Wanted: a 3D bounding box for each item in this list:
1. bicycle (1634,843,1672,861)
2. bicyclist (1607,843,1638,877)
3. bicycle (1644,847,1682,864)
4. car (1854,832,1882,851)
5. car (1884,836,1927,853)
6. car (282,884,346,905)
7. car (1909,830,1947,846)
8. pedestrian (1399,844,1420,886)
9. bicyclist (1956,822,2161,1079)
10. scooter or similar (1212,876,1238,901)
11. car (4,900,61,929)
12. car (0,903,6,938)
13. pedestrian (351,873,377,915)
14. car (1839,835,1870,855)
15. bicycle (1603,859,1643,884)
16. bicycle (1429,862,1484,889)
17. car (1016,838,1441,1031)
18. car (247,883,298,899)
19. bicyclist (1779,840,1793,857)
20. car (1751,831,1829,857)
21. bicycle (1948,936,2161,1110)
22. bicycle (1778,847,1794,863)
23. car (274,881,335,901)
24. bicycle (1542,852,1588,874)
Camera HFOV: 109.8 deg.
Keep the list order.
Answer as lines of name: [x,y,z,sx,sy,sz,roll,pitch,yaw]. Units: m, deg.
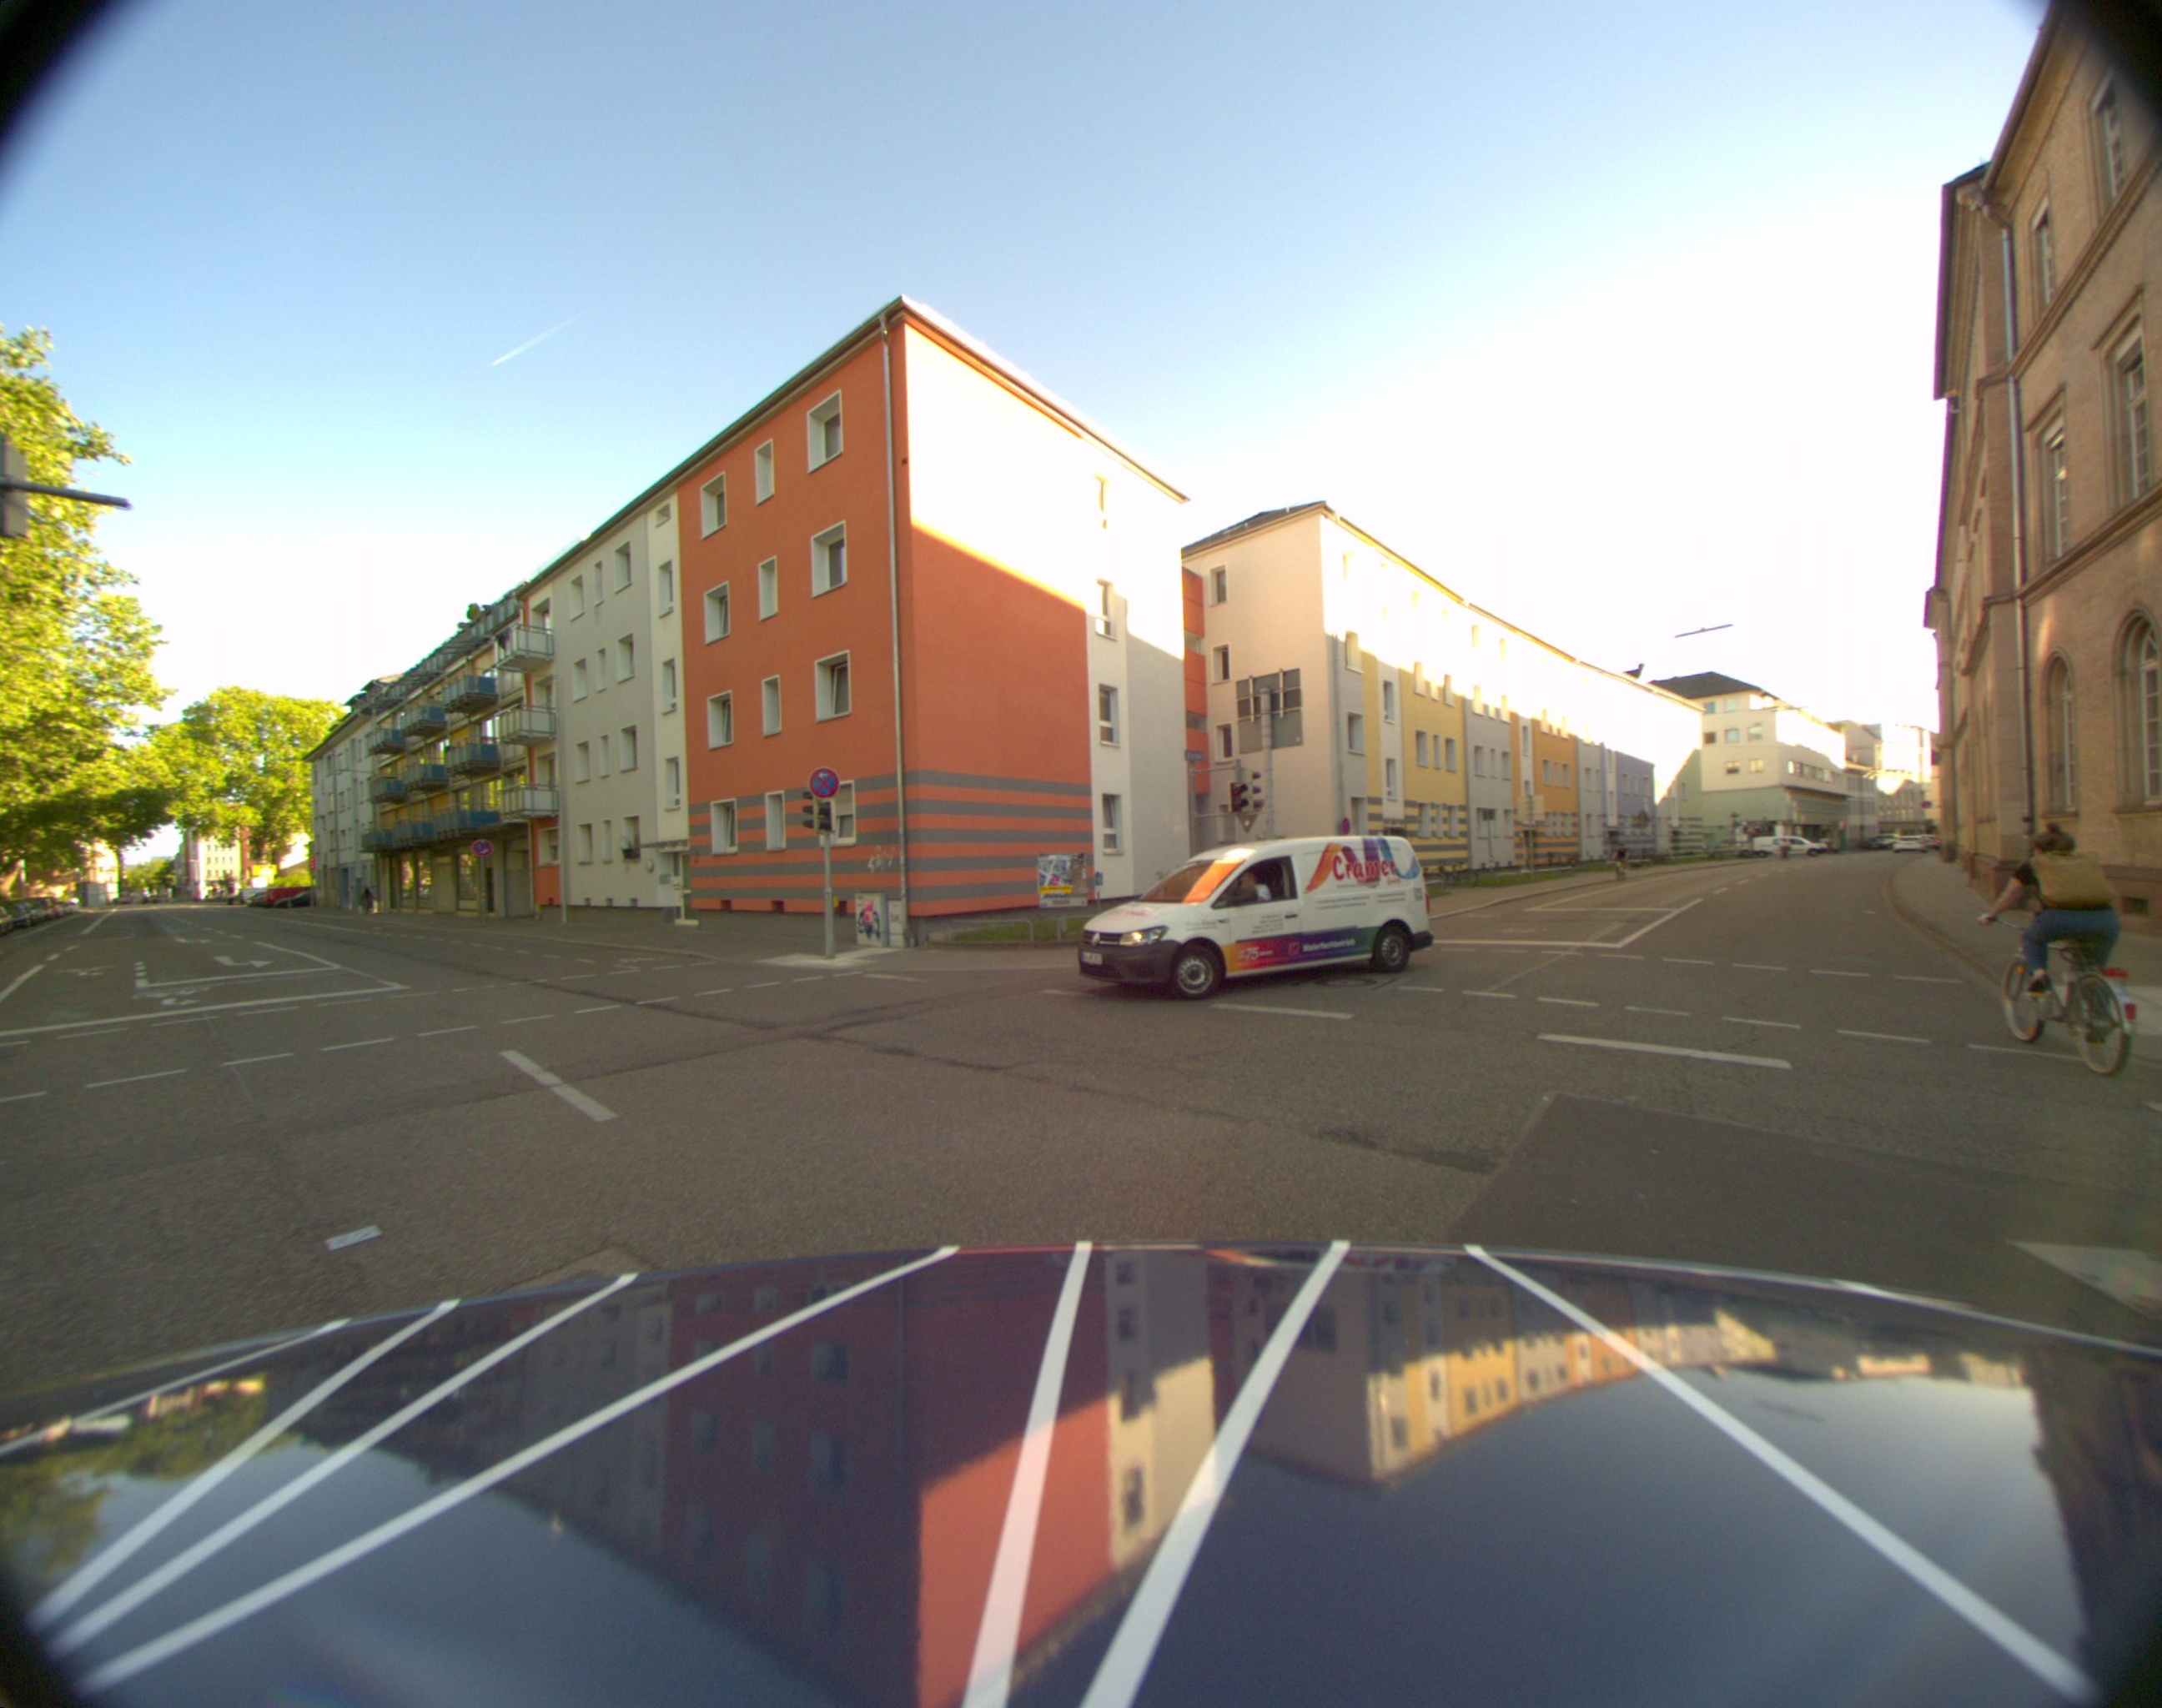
bicycle: [35.829,-0.133,47.627,1.870,1.063,0.712,-2,1,39]
bicyclist: [22.642,0.275,31.766,0.840,1.364,0.790,0,-3,-38]
bicycle: [37.312,0.102,48.737,1.870,1.063,0.712,-2,1,31]
car: [90.746,-1.453,87.602,4.007,2.002,1.995,-2,0,-40]
car: [71.313,-0.849,65.675,4.715,1.332,2.101,-2,0,-38]
car: [-71.242,3.751,70.597,1.828,1.689,4.008,-2,0,41]
car: [81.931,-1.542,73.496,4.715,1.332,2.101,-2,0,-37]
pedestrian: [11.583,0.386,26.789,0.560,1.452,0.599,-2,0,14]
bicyclist: [6.842,0.622,5.354,0.644,1.636,0.856,-2,0,33]
scooter or similar: [4.661,1.122,24.597,0.743,0.783,0.301,-2,1,23]
car: [-63.819,3.649,46.305,4.644,1.520,1.791,-2,0,39]
car: [-48.828,2.978,33.274,4.644,1.520,1.791,-2,0,38]
pedestrian: [-42.046,2.328,44.549,1.085,2.382,0.916,-2,0,38]
car: [81.365,-0.959,79.889,4.007,2.002,1.995,-2,0,-40]
bicycle: [22.645,0.732,31.742,1.996,0.992,0.788,1,-4,-38]
bicycle: [14.084,0.806,28.532,1.754,0.987,0.541,-2,1,35]
car: [1.972,0.798,9.622,5.132,1.806,1.996,-2,0,-29]
car: [-95.110,4.372,89.384,1.828,1.689,4.008,-2,0,41]
bicyclist: [50.515,-0.395,54.435,0.823,1.252,0.676,-2,0,-42]
car: [59.524,-0.832,63.818,4.694,2.002,2.004,-2,0,45]
bicycle: [6.844,1.096,5.330,0.494,0.918,1.826,-2,-3,33]
bicycle: [50.506,0.094,54.422,1.800,1.104,0.676,-2,0,-41]
car: [-75.496,3.580,73.877,1.828,1.689,4.008,-2,0,41]
bicycle: [24.454,0.465,38.400,1.870,1.063,0.712,-2,1,39]
